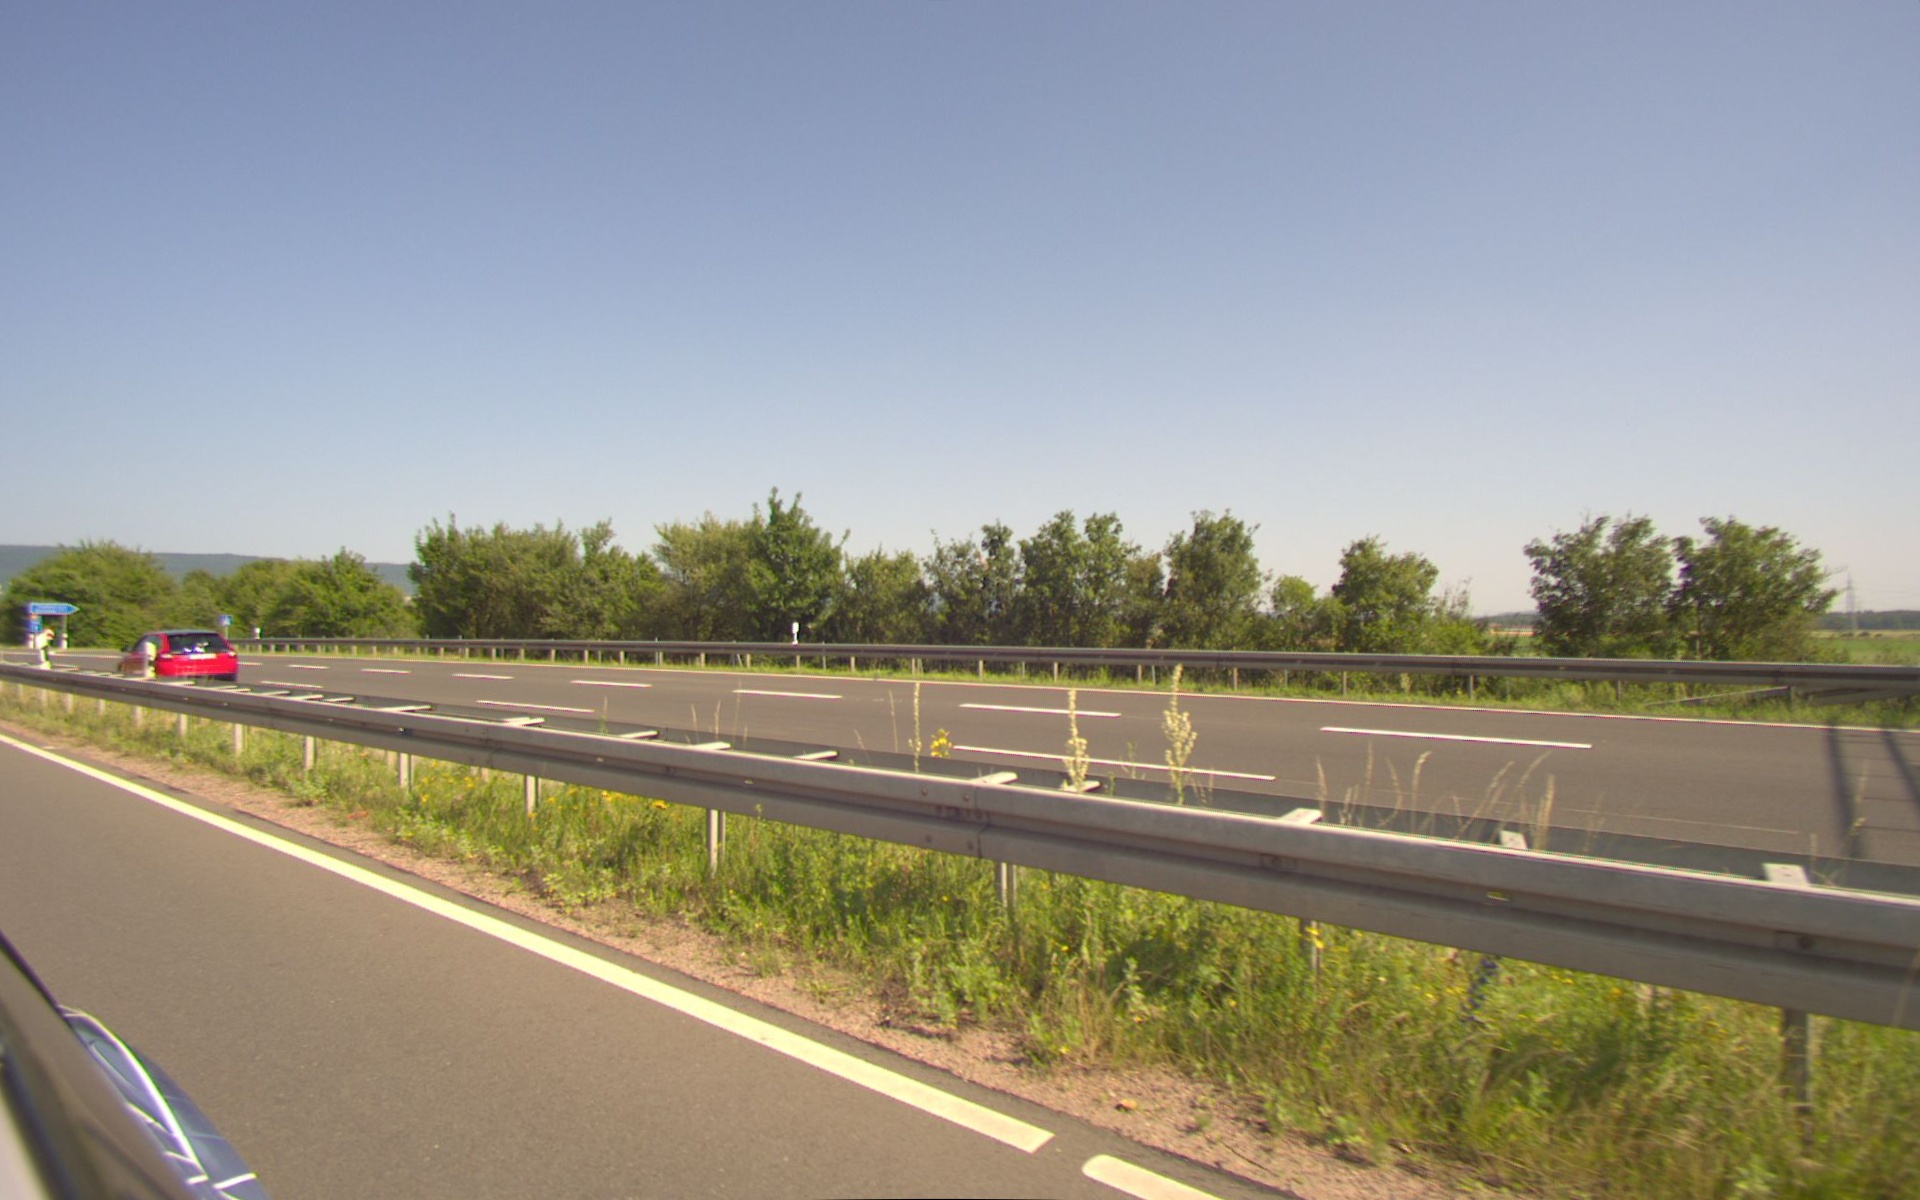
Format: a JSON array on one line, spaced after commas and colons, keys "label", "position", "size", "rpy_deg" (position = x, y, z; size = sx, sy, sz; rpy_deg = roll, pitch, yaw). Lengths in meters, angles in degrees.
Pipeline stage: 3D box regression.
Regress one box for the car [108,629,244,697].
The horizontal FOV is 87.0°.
[{"label": "car", "position": [-19.421, 1.497, 25.022], "size": [4.260, 1.497, 1.694], "rpy_deg": [-1, 0, 38]}]
